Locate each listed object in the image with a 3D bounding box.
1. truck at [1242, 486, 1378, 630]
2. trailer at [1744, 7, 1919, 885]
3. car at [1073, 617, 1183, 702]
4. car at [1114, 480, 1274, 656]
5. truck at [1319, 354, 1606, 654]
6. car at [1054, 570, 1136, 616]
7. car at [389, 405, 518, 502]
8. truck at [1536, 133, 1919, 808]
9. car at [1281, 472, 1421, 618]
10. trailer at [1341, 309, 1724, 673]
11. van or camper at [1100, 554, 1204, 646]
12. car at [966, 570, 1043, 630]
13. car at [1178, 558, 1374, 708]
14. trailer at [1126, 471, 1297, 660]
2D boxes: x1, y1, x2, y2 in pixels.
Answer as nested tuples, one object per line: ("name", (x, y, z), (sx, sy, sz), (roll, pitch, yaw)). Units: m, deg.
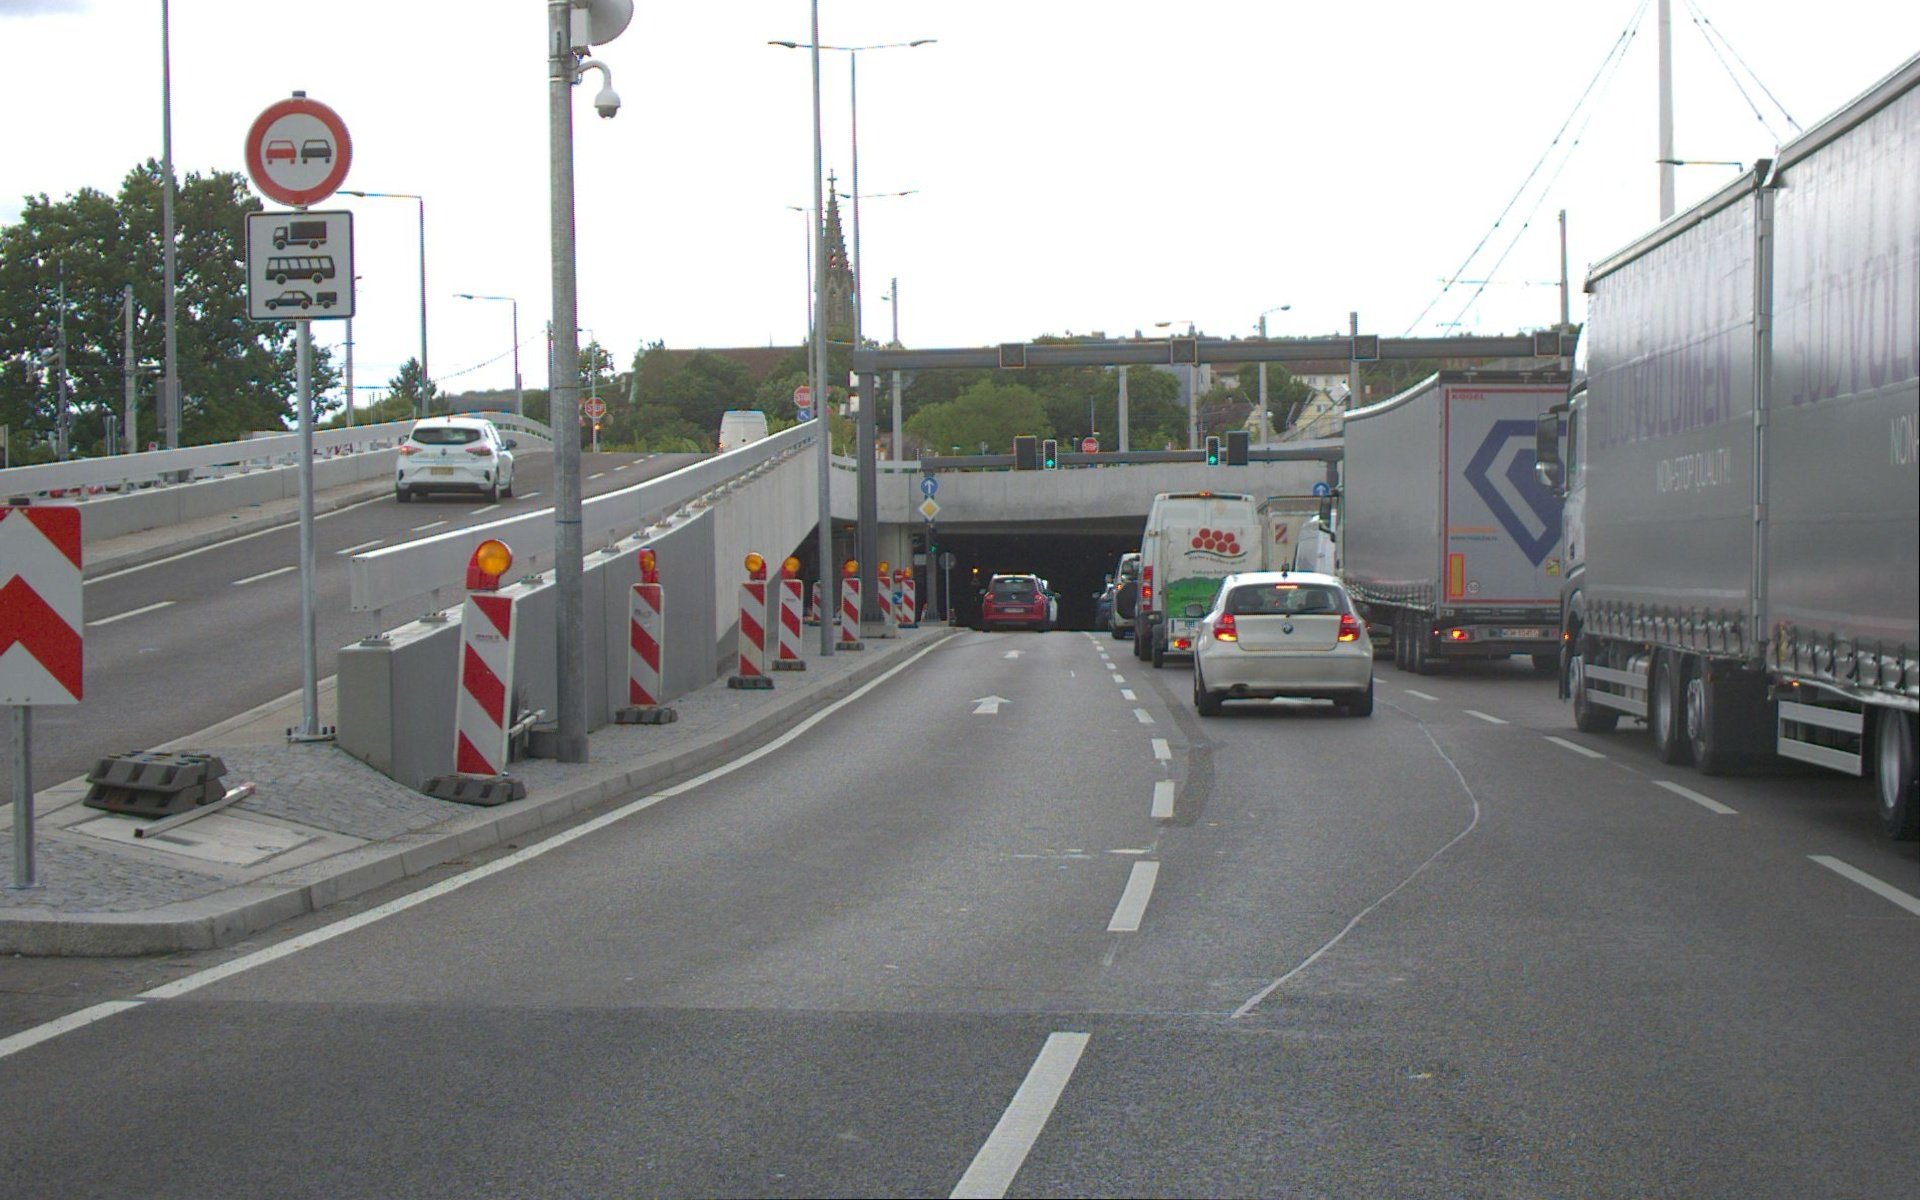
("truck", (8.102, -0.925, 80.248), (2.650, 3.174, 7.425), (-1, 0, 2))
("trailer", (6.325, -0.707, 15.536), (3.725, 4.127, 10.982), (1, 1, 4))
("car", (3.350, 1.173, 69.119), (1.681, 1.539, 3.693), (2, 1, -5))
("car", (3.751, -0.492, 56.140), (2.058, 2.619, 5.942), (3, 0, 0))
("truck", (8.210, -1.535, 57.242), (3.805, 4.615, 7.442), (1, 1, 2))
("car", (4.178, -0.228, 107.001), (1.993, 1.382, 4.001), (1, 1, -6))
("car", (-8.756, -2.515, 59.654), (1.743, 1.428, 3.776), (3, 0, -2))
("truck", (6.979, -0.824, 26.500), (3.725, 4.127, 10.982), (1, 1, 3))
("car", (7.943, -1.114, 70.453), (2.075, 2.764, 7.326), (2, 1, 1))
("trailer", (8.027, -1.464, 50.242), (3.805, 4.615, 12.113), (1, 1, 2))
("van or camper", (4.171, 0.034, 75.357), (1.993, 1.839, 5.507), (1, -1, 1))
("car", (1.161, 0.014, 90.872), (1.660, 1.483, 3.567), (0, -1, -5))
("car", (3.184, 0.310, 35.279), (1.716, 1.393, 4.347), (2, 0, 2))
("trailer", (3.762, -0.494, 52.273), (2.103, 2.630, 4.810), (3, 0, 0))
